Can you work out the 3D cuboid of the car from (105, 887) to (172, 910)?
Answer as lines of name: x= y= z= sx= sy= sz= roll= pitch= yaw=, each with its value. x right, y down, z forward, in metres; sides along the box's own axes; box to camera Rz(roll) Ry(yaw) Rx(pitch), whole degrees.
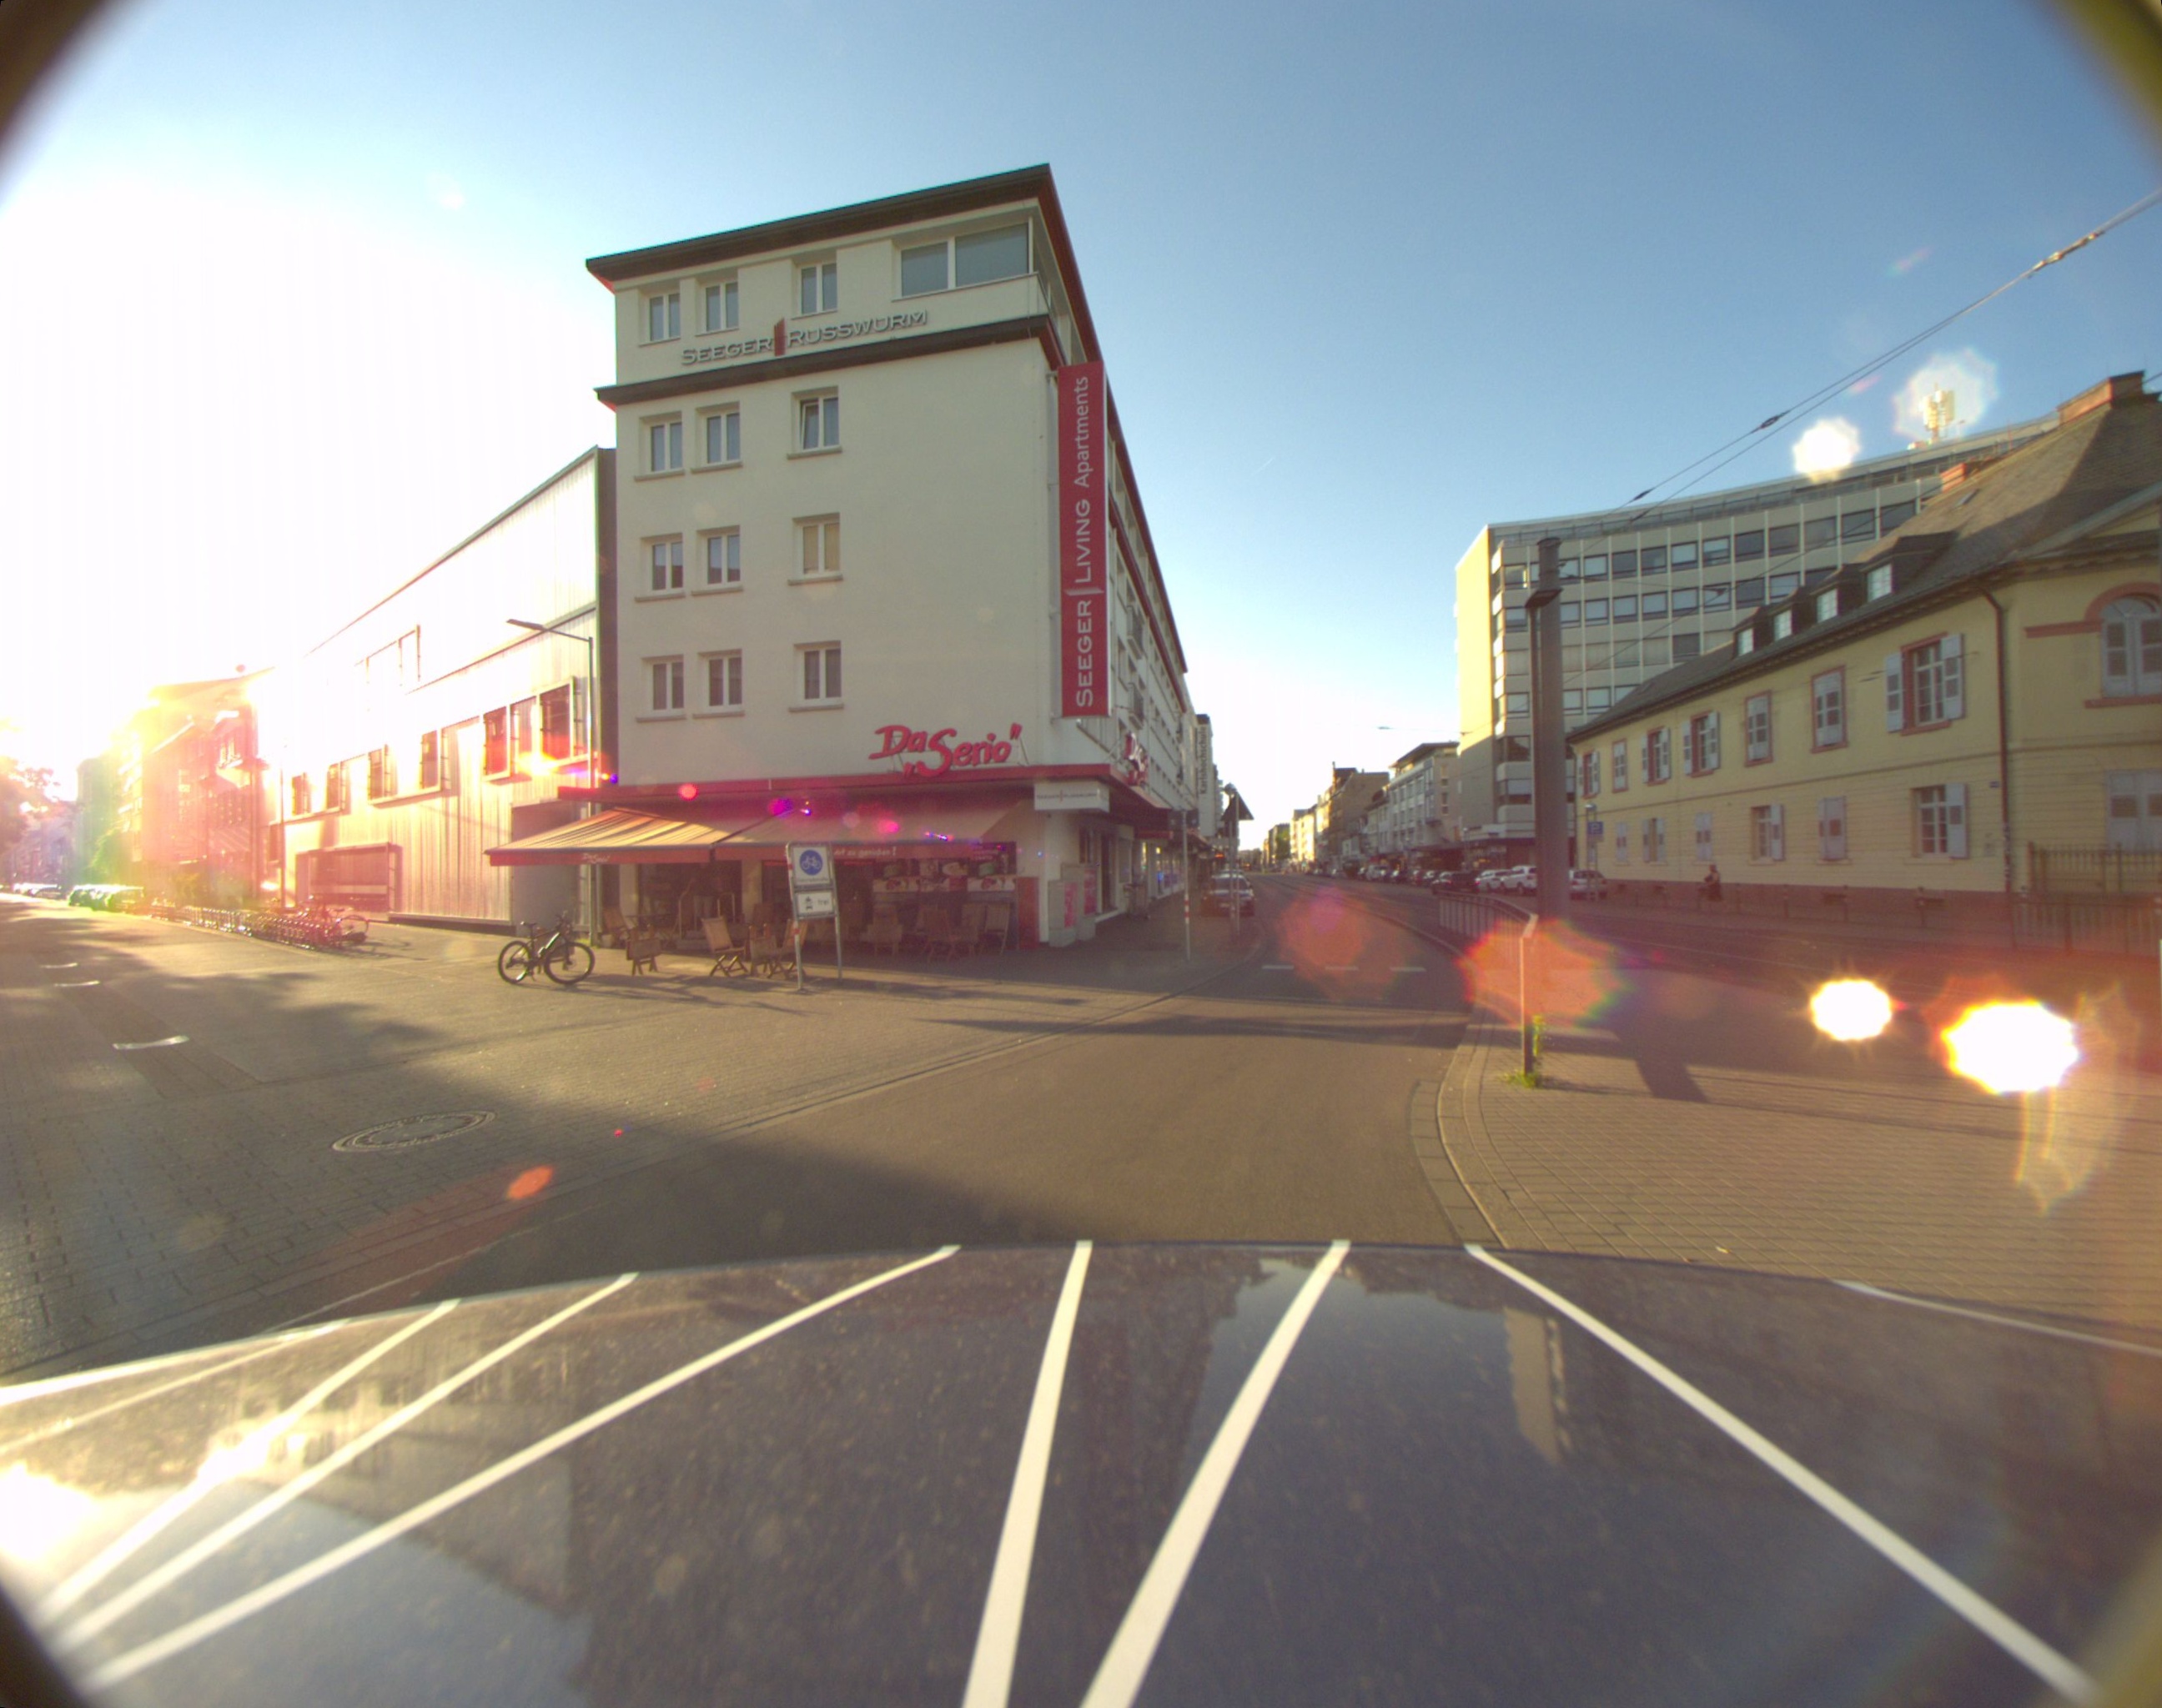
car: x=-60.352 y=2.834 z=48.689 sx=1.295 sy=1.292 sz=2.591 roll=-3 pitch=-1 yaw=35

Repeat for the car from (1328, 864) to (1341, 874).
car: x=42.917 y=2.480 z=128.732 sx=1.658 sy=1.561 sz=3.474 roll=-3 pitch=-1 yaw=12

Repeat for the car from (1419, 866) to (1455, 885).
car: x=29.182 y=1.726 z=62.393 sx=1.695 sy=1.416 sz=3.969 roll=-3 pitch=-1 yaw=12

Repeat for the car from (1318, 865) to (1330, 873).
car: x=46.338 y=2.805 z=144.938 sx=1.844 sy=1.484 sz=3.820 roll=-3 pitch=-1 yaw=12

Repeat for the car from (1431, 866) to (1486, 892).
car: x=21.959 y=1.415 z=44.359 sx=1.770 sy=1.368 sz=4.227 roll=-1 pitch=-1 yaw=11

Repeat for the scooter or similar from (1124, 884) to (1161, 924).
scooter or similar: x=1.954 y=1.570 z=24.187 sx=0.336 sy=1.187 sz=1.435 roll=0 pitch=-1 yaw=-35

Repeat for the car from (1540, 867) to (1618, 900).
car: x=24.207 y=1.393 z=37.120 sx=1.751 sy=1.465 sz=4.004 roll=-3 pitch=-2 yaw=11

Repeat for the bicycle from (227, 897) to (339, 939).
bicycle: x=-25.319 y=2.016 z=24.169 sx=0.527 sy=1.133 sz=2.348 roll=-3 pitch=-1 yaw=29

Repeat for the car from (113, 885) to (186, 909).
car: x=-56.108 y=2.575 z=45.792 sx=1.445 sy=1.239 sz=2.694 roll=-3 pitch=-1 yaw=37

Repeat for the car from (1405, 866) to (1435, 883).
car: x=30.024 y=1.768 z=67.447 sx=1.694 sy=1.425 sz=3.596 roll=-1 pitch=-1 yaw=12

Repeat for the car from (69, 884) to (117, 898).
car: x=-94.241 y=3.551 z=72.517 sx=1.445 sy=1.239 sz=2.694 roll=-1 pitch=-1 yaw=34

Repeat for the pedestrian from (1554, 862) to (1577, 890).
pedestrian: x=27.924 y=1.253 z=43.811 sx=0.801 sy=1.532 sz=0.878 roll=-3 pitch=0 yaw=14

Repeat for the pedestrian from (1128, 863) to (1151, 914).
pedestrian: x=2.227 y=1.287 z=28.730 sx=0.776 sy=1.869 sz=0.935 roll=0 pitch=0 yaw=10

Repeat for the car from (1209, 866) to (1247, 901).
car: x=7.918 y=1.548 z=40.891 sx=1.859 sy=1.690 sz=4.422 roll=-3 pitch=-1 yaw=11

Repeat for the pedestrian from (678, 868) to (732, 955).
pedestrian: x=-8.234 y=1.237 z=16.687 sx=0.715 sy=1.815 sz=0.762 roll=-3 pitch=1 yaw=0

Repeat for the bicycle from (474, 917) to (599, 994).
bicycle: x=-8.878 y=1.638 z=12.385 sx=1.907 sy=1.152 sz=0.537 roll=-2 pitch=0 yaw=15

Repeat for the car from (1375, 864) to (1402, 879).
car: x=33.665 y=1.884 z=83.275 sx=1.875 sy=1.418 sz=4.575 roll=-3 pitch=-1 yaw=12

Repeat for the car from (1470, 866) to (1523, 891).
car: x=26.533 y=1.557 z=48.715 sx=1.724 sy=1.444 sz=4.288 roll=-3 pitch=-1 yaw=11

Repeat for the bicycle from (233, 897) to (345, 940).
bicycle: x=-24.817 y=1.992 z=23.877 sx=0.527 sy=1.138 sz=2.348 roll=-2 pitch=0 yaw=29

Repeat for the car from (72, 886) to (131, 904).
car: x=-75.587 y=3.154 z=58.652 sx=1.400 sy=1.239 sz=2.694 roll=-3 pitch=-1 yaw=34

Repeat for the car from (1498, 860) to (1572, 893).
car: x=25.139 y=1.210 z=42.314 sx=1.890 sy=1.651 sz=4.765 roll=-3 pitch=-1 yaw=10

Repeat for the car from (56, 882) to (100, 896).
car: x=-103.127 y=3.640 z=78.140 sx=1.262 sy=1.271 sz=2.694 roll=-3 pitch=-1 yaw=34

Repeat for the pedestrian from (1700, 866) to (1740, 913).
pedestrian: x=21.006 y=1.151 z=24.975 sx=0.720 sy=1.527 sz=0.719 roll=-1 pitch=0 yaw=7

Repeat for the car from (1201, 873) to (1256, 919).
car: x=5.462 y=1.488 z=28.103 sx=1.793 sy=1.404 sz=4.692 roll=-3 pitch=-1 yaw=11

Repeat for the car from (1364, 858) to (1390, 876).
car: x=35.248 y=1.507 z=90.645 sx=1.967 sy=2.001 sz=5.104 roll=-3 pitch=-1 yaw=11

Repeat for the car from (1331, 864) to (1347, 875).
car: x=42.120 y=2.515 z=124.261 sx=1.894 sy=1.547 sz=4.627 roll=-3 pitch=-1 yaw=12

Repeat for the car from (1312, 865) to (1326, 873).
car: x=49.072 y=3.101 z=156.750 sx=1.997 sy=1.411 sz=4.407 roll=-3 pitch=-1 yaw=9

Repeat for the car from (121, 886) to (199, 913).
car: x=-51.976 y=2.550 z=42.916 sx=1.445 sy=1.351 sz=2.694 roll=-3 pitch=-1 yaw=37

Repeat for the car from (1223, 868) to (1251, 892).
car: x=11.041 y=1.805 z=54.061 sx=1.795 sy=1.524 sz=4.861 roll=-3 pitch=-1 yaw=11

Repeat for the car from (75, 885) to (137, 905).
car: x=-71.684 y=3.013 z=55.876 sx=1.445 sy=1.239 sz=2.694 roll=-3 pitch=-1 yaw=34

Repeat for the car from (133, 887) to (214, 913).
car: x=-49.029 y=2.472 z=41.081 sx=1.445 sy=1.239 sz=2.694 roll=-3 pitch=-1 yaw=37

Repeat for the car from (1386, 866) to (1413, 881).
car: x=32.141 y=1.945 z=76.766 sx=1.793 sy=1.452 sz=4.095 roll=-1 pitch=-1 yaw=13

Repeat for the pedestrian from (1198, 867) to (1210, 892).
pedestrian: x=7.987 y=1.645 z=49.419 sx=0.734 sy=1.564 sz=0.968 roll=-1 pitch=-1 yaw=11

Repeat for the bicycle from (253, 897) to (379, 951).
bicycle: x=-21.213 y=1.909 z=21.149 sx=0.604 sy=1.225 sz=2.348 roll=-1 pitch=1 yaw=29

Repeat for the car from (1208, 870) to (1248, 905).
car: x=6.864 y=1.525 z=35.293 sx=1.654 sy=1.412 sz=4.195 roll=-3 pitch=-1 yaw=12
